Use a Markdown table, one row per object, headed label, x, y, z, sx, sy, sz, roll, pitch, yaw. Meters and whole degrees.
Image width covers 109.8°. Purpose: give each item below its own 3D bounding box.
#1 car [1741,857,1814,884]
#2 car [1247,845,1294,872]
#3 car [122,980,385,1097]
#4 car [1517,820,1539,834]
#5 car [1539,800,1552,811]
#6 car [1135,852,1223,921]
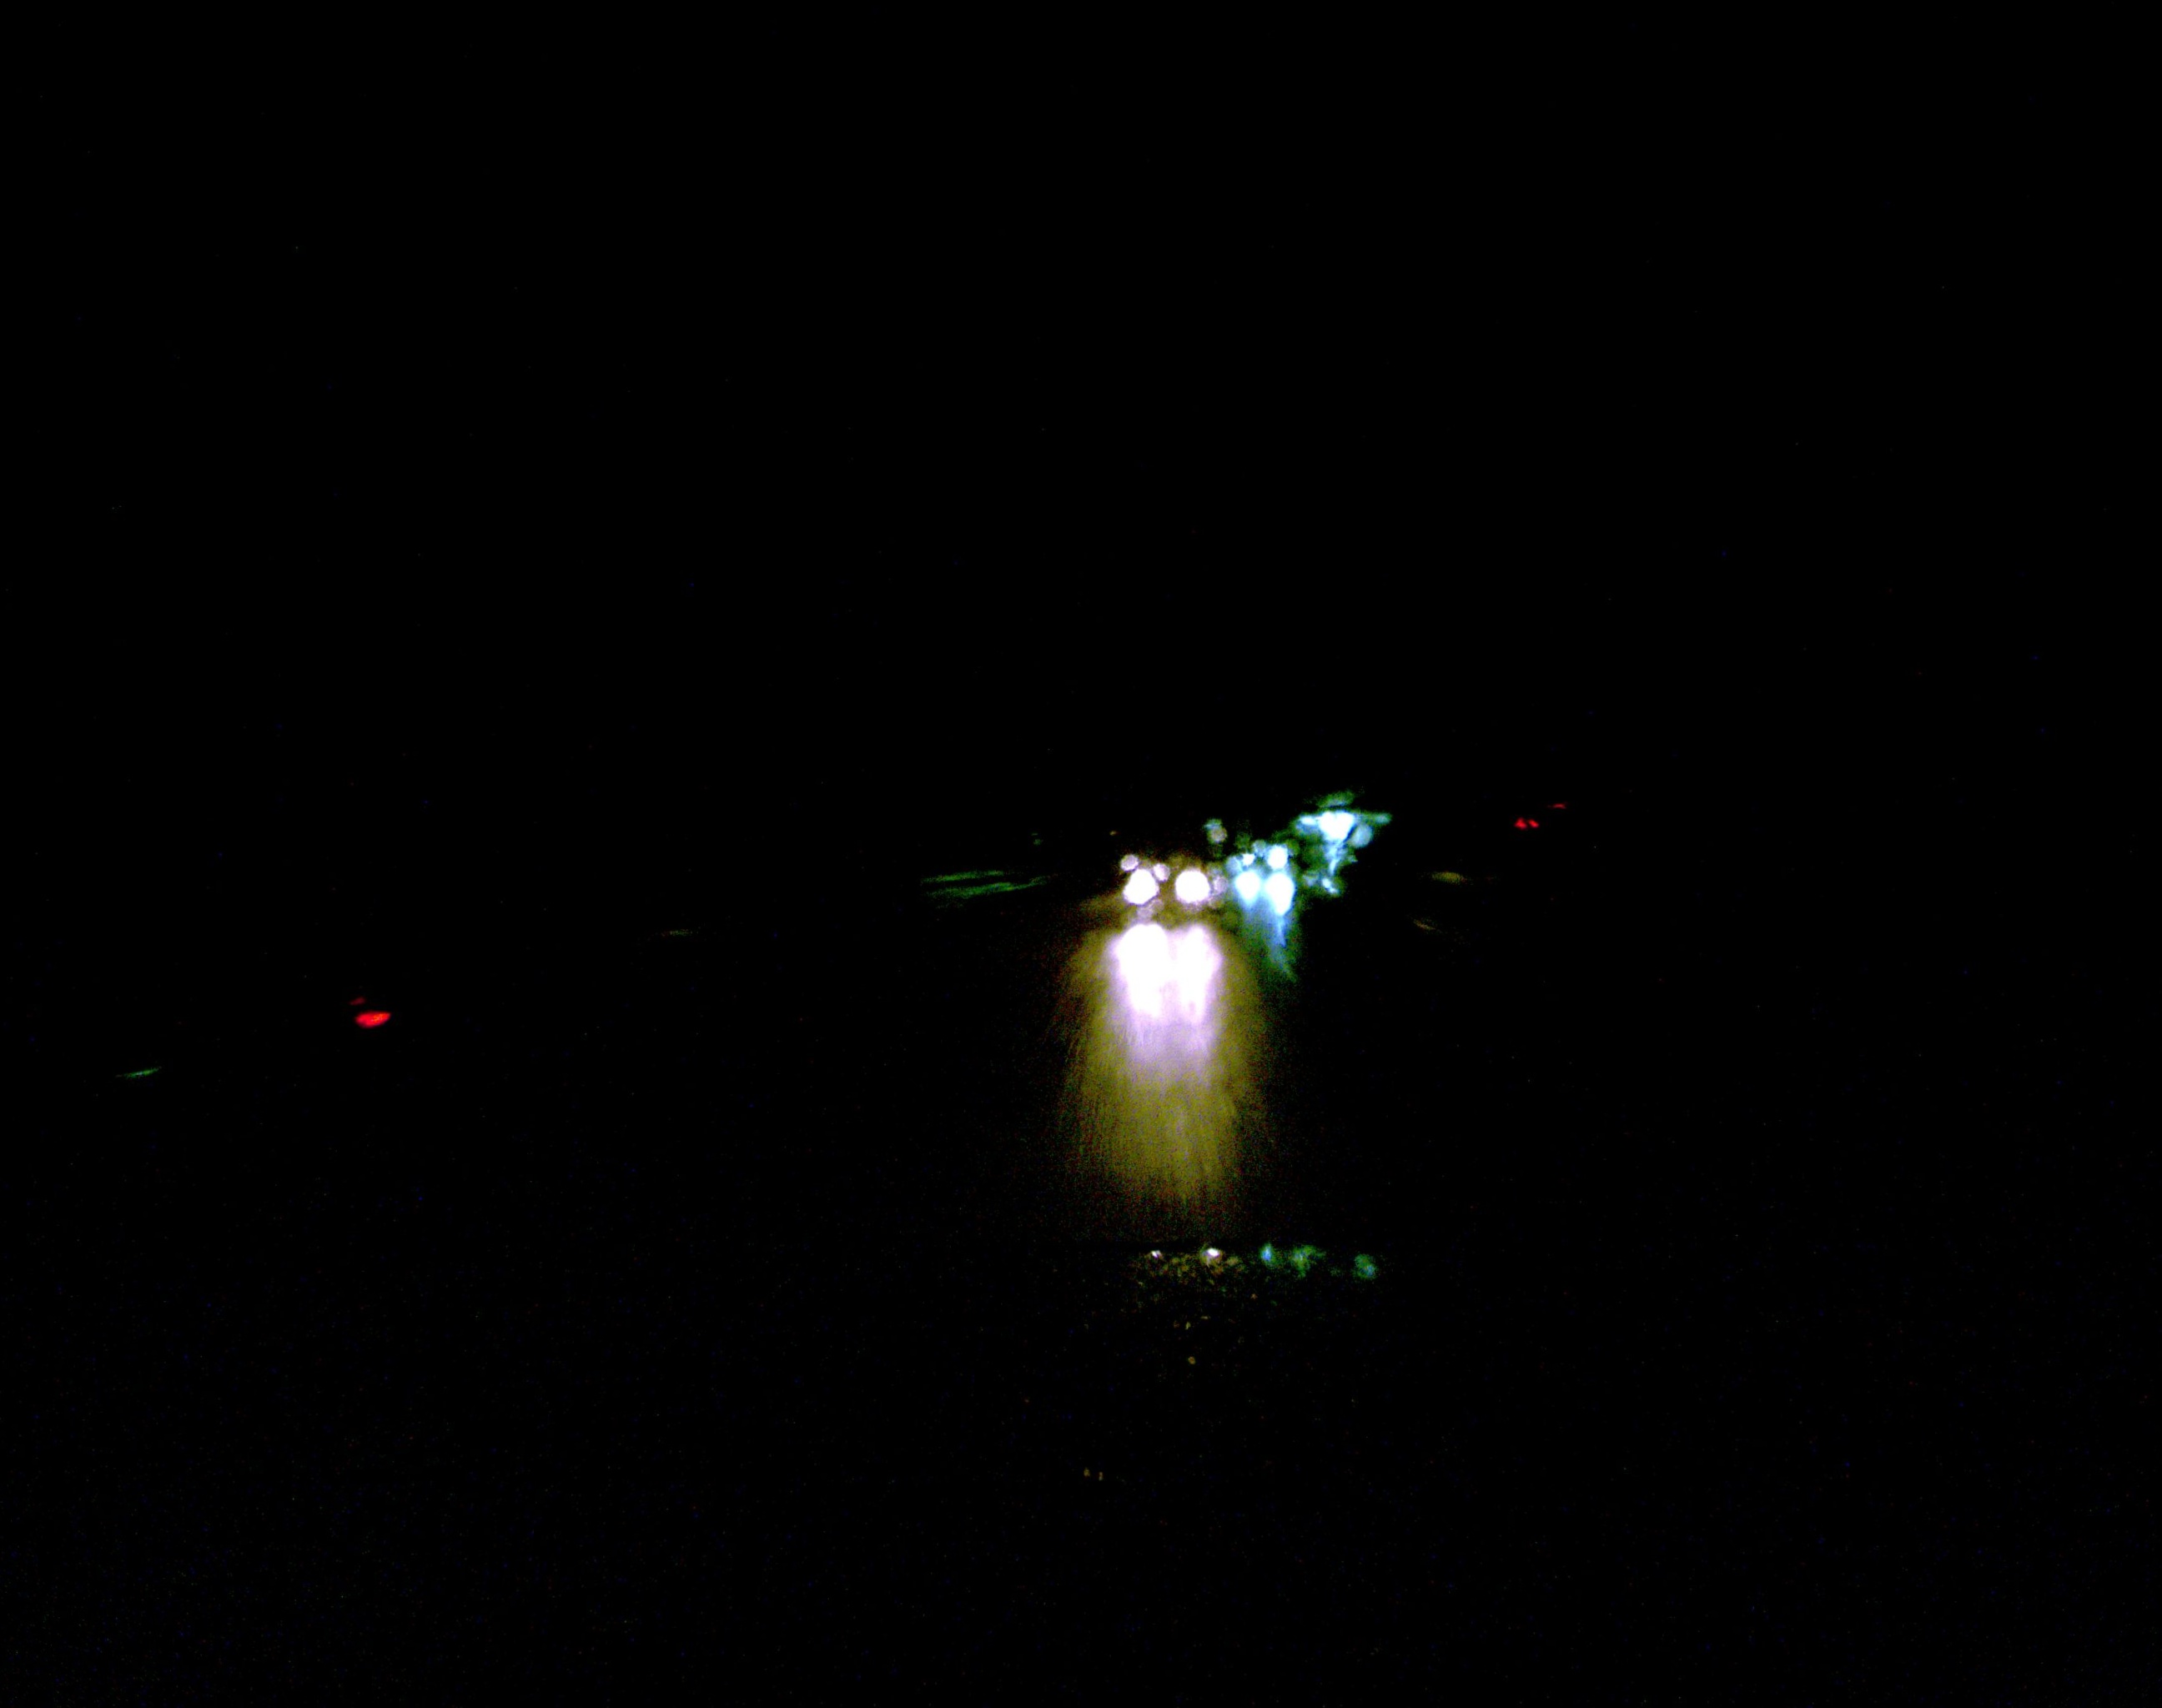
| label | x | y | z | sx | sy | sz | roll | pitch | yaw |
| --- | --- | --- | --- | --- | --- | --- | --- | --- | --- |
| car | 42.046 | 0.972 | 45.971 | 1.503 | 1.420 | 3.431 | -1 | 2 | 6 |
| car | 10.005 | 0.190 | 39.921 | 1.757 | 1.304 | 4.091 | 0 | 1 | 24 |
| car | -20.185 | 4.384 | 18.717 | 1.738 | 1.674 | 4.126 | -6 | 1 | 39 |
| car | 54.959 | -3.344 | 93.420 | 1.742 | 1.418 | 4.103 | -3 | 4 | 23 |
| car | 79.075 | -8.297 | 129.495 | 1.759 | 1.483 | 4.049 | -1 | 6 | 30 |
| car | 2.489 | 0.717 | 18.574 | 1.685 | 1.442 | 3.645 | -2 | 1 | 14 |
